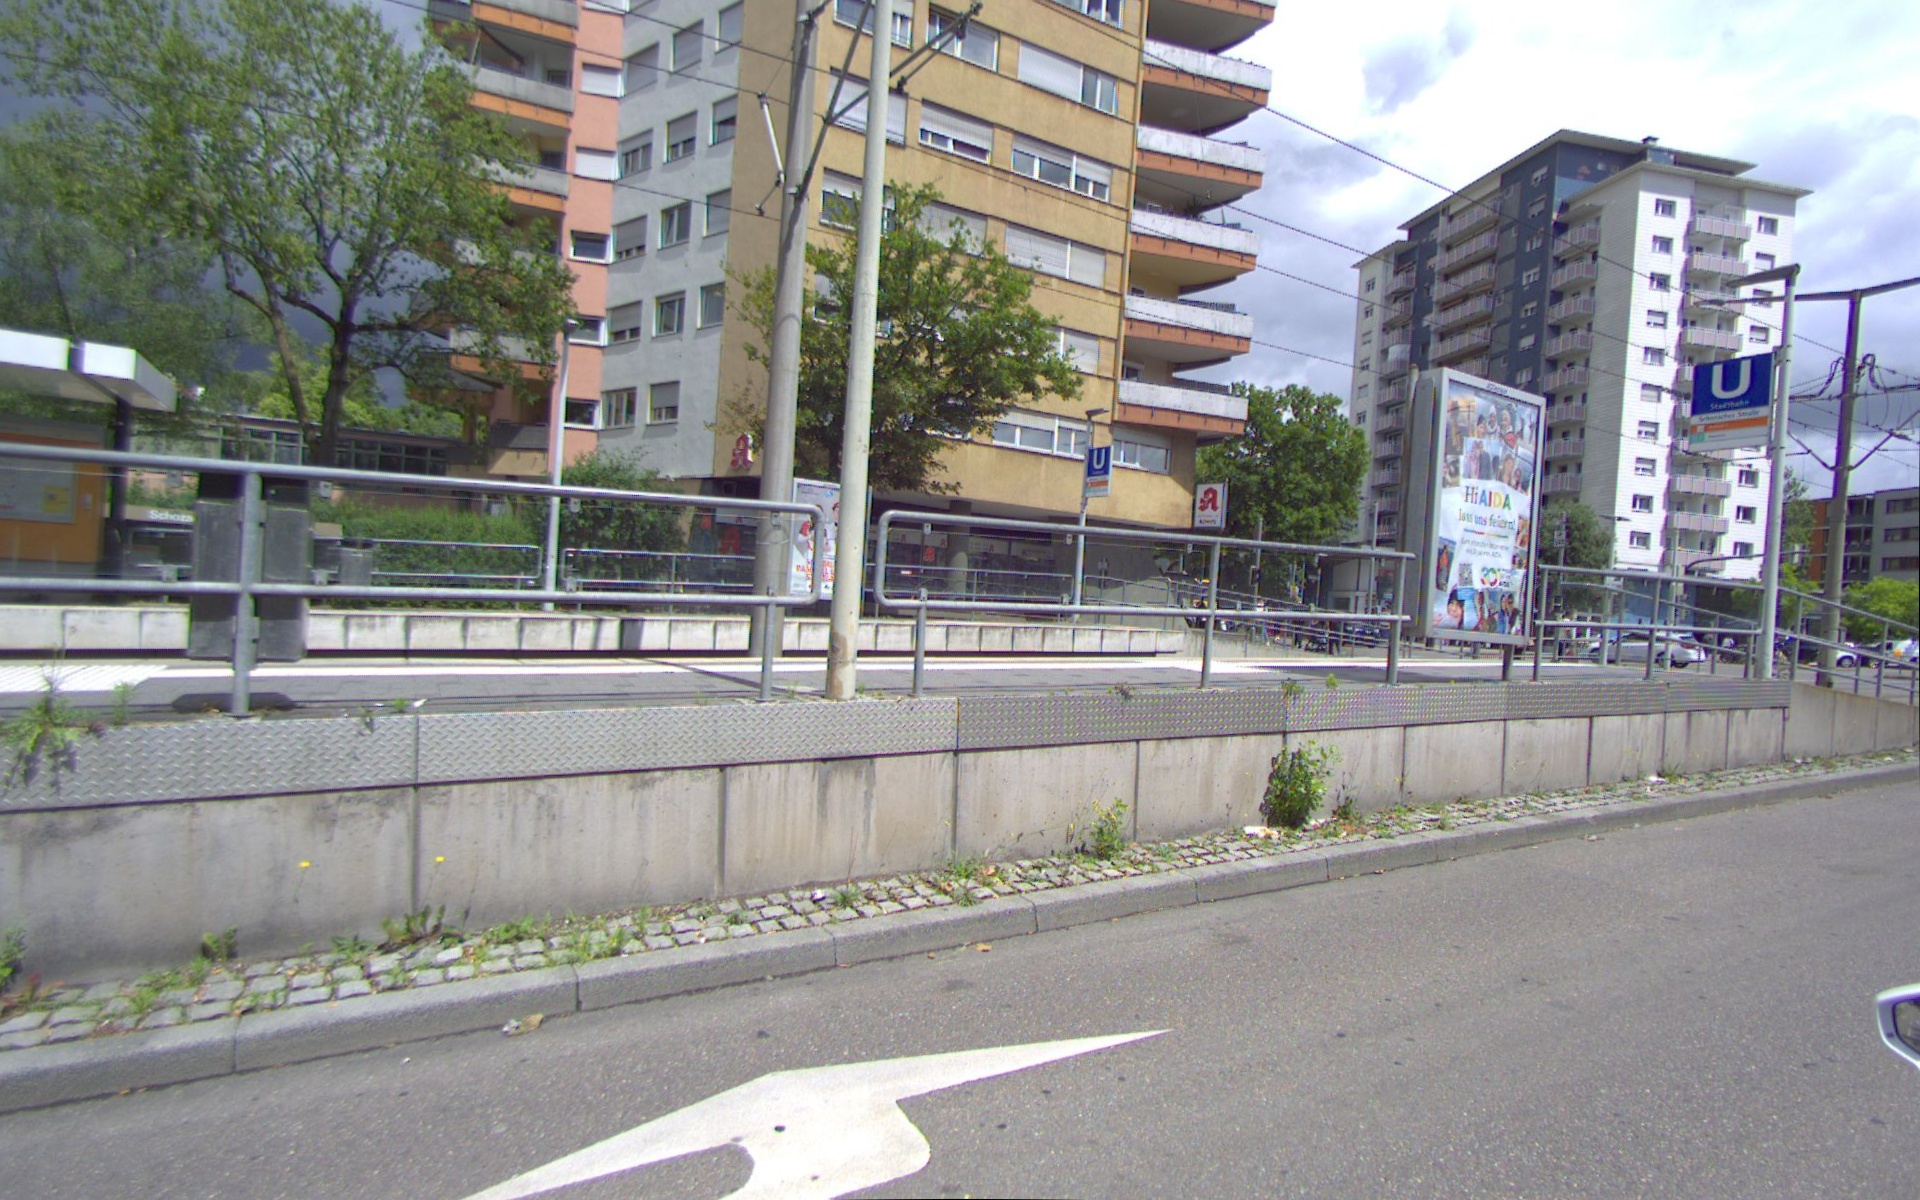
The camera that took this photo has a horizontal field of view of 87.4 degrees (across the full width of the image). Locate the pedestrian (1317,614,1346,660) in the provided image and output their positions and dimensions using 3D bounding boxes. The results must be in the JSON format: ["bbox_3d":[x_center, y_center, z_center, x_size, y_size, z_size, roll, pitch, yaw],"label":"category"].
[{"bbox_3d":[11.330,1.104,30.623,0.677,1.360,0.859,2,0,30],"label":"pedestrian"}]

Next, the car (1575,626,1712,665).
[{"bbox_3d":[30.030,1.967,44.260,1.980,1.500,4.608,2,-1,-35],"label":"car"}]

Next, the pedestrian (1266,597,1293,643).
[{"bbox_3d":[11.423,0.720,35.962,0.759,1.604,0.610,2,0,6],"label":"pedestrian"}]

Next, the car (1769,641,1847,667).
[{"bbox_3d":[54.518,3.466,64.614,1.602,1.482,3.576,2,0,-37],"label":"car"}]

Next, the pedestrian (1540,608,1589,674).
[{"bbox_3d":[16.118,1.083,26.785,0.847,1.719,0.686,2,0,-20],"label":"pedestrian"}]

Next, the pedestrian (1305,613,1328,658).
[{"bbox_3d":[11.241,1.115,31.689,0.543,1.360,0.669,2,0,12],"label":"pedestrian"}]

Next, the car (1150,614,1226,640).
[{"bbox_3d":[14.750,1.729,65.096,1.929,1.546,4.534,2,-1,-40],"label":"car"}]

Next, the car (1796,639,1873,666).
[{"bbox_3d":[57.937,3.453,66.599,1.602,1.482,3.576,2,1,-37],"label":"car"}]

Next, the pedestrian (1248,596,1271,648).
[{"bbox_3d":[10.150,0.747,34.017,0.668,1.729,0.827,2,0,15],"label":"pedestrian"}]

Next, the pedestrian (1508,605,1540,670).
[{"bbox_3d":[14.628,0.963,26.071,0.690,1.654,0.637,1,-1,27],"label":"pedestrian"}]

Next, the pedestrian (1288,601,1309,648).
[{"bbox_3d":[11.741,0.844,34.845,0.611,1.599,0.860,2,0,20],"label":"pedestrian"}]

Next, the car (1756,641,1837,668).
[{"bbox_3d":[51.309,3.324,61.640,1.602,1.482,3.576,2,0,-37],"label":"car"}]

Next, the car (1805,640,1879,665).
[{"bbox_3d":[60.219,3.554,68.625,1.602,1.482,3.576,2,0,-37],"label":"car"}]
